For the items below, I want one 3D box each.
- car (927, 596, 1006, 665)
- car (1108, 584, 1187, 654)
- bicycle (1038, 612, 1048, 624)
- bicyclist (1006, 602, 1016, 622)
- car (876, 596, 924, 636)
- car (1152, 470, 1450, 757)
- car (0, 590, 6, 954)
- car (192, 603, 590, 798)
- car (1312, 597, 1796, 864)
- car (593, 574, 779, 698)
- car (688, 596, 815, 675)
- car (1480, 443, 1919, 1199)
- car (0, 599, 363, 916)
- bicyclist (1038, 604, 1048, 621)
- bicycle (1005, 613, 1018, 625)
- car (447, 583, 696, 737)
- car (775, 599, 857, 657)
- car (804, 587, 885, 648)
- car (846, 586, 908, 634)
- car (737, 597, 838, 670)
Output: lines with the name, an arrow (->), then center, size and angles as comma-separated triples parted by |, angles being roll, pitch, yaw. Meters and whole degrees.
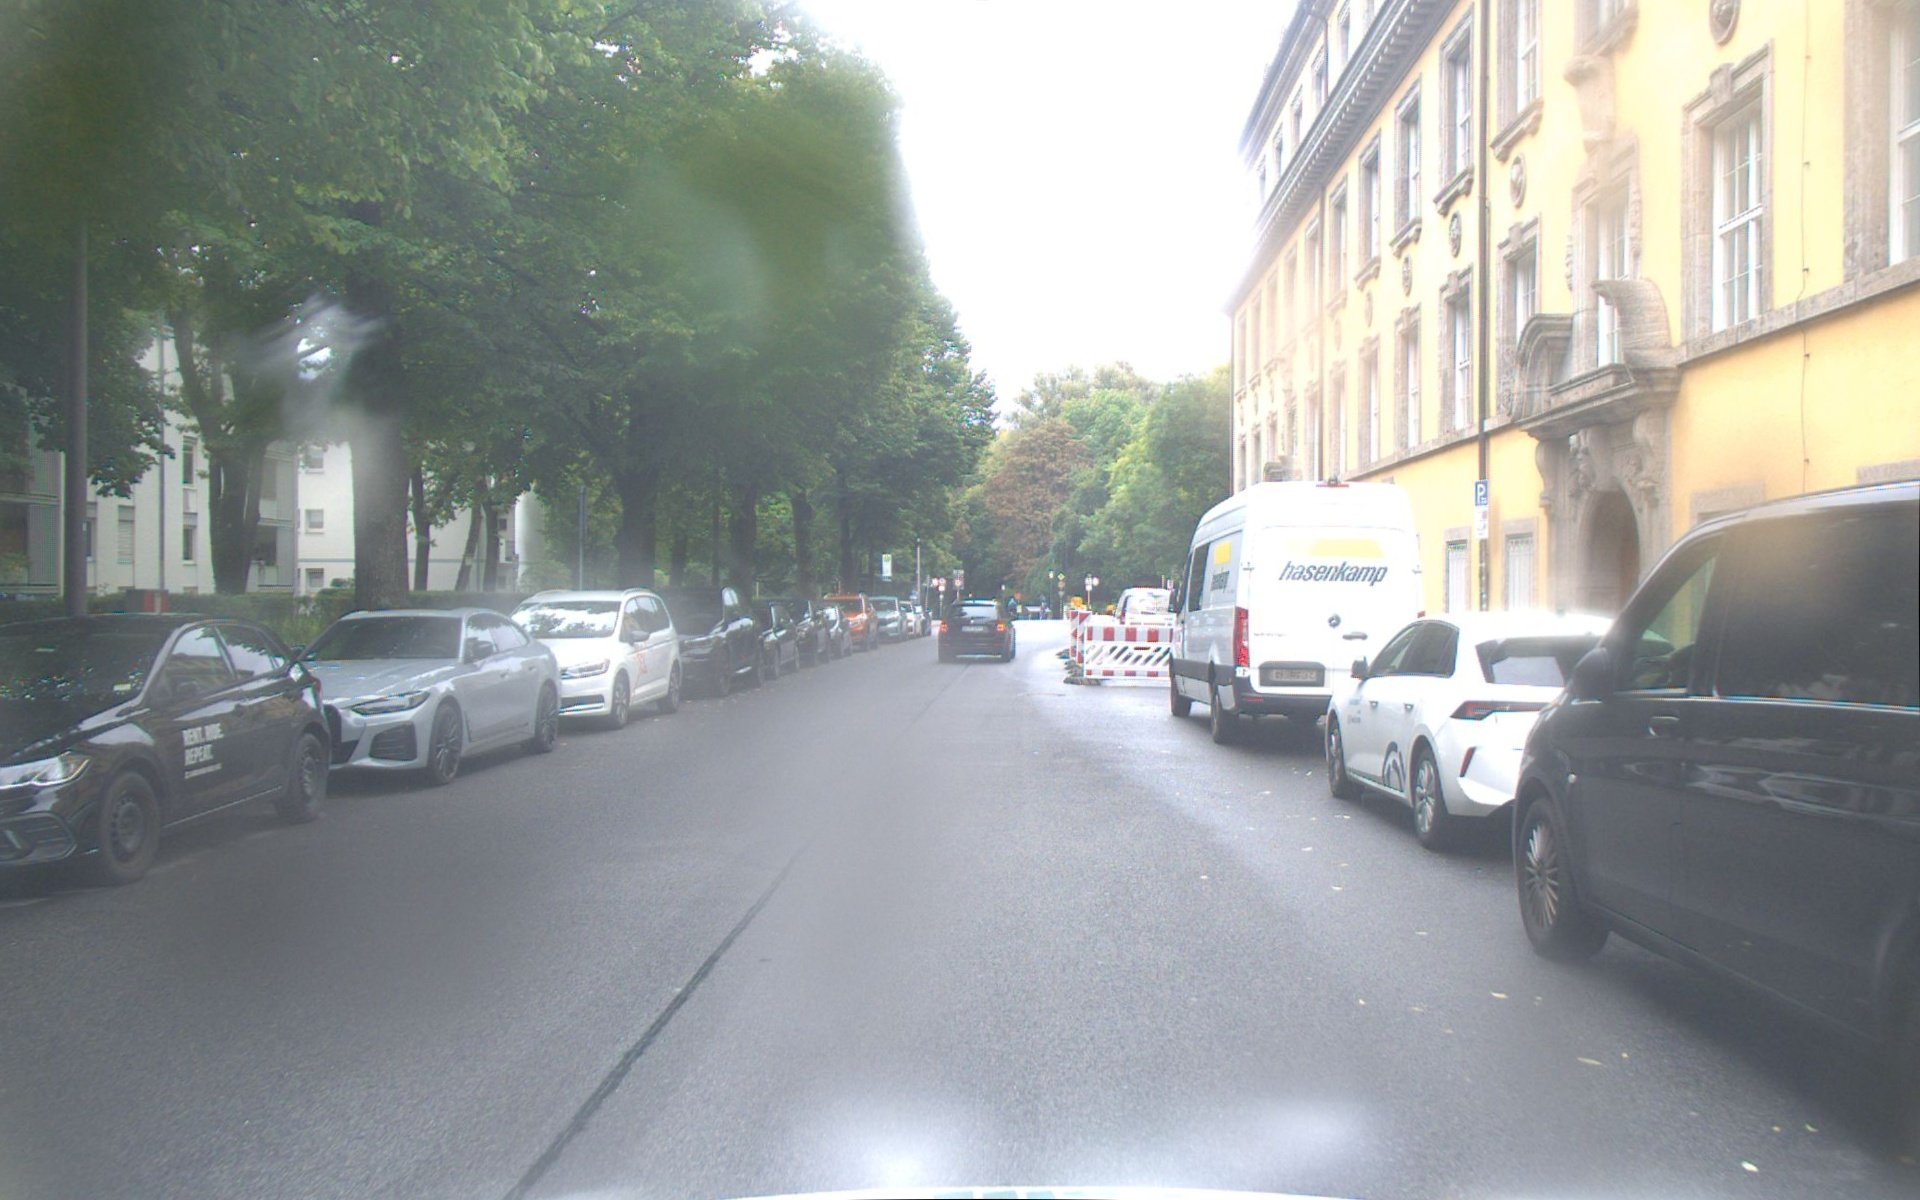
car -> 0.199, 0.714, 40.453 | 1.544, 1.611, 4.047 | 0, 0, 6
car -> 4.954, 0.505, 44.168 | 1.703, 1.780, 4.356 | 0, -1, 1
bicycle -> 5.700, 1.240, 113.552 | 0.665, 0.844, 2.110 | 0, -1, 3
bicyclist -> 3.913, 0.909, 126.653 | 0.667, 1.530, 0.900 | 0, 0, -6
car -> -2.330, 0.623, 65.197 | 1.544, 1.523, 4.200 | 0, 0, 2
car -> 3.671, 0.142, 19.492 | 2.012, 2.720, 7.614 | 0, 0, 1
car -> -5.183, 0.759, 5.130 | 1.747, 1.625, 4.584 | 0, 0, 1
car -> -4.933, 0.781, 15.207 | 1.772, 1.495, 4.998 | 0, 0, 2
car -> 3.773, 0.740, 11.371 | 1.832, 1.483, 4.255 | 0, 0, 1
car -> -4.428, 0.557, 27.526 | 1.952, 1.828, 4.922 | -2, 0, 3
car -> -4.115, 0.667, 33.325 | 1.682, 1.476, 4.697 | 0, 0, 3
car -> 3.334, 0.560, 5.255 | 1.832, 1.902, 4.987 | 0, 0, 1
car -> -5.151, 0.757, 9.881 | 1.637, 1.495, 4.104 | 0, 0, 1
bicyclist -> 5.693, 0.854, 113.560 | 0.666, 1.208, 0.481 | 0, 0, 3
bicycle -> 3.934, 1.451, 126.528 | 0.666, 0.844, 2.107 | 0, -1, -6
car -> -4.715, 0.685, 20.787 | 1.728, 1.650, 4.525 | -3, 0, 4
car -> -3.798, 0.720, 44.172 | 1.691, 1.447, 4.252 | 0, 0, 2
car -> -3.433, 0.525, 50.127 | 1.833, 1.758, 4.643 | 0, 0, 4
car -> -2.928, 0.344, 58.982 | 1.777, 1.629, 4.515 | 0, 0, 2
car -> -3.968, 0.732, 38.719 | 1.749, 1.602, 4.487 | 0, 0, 2
